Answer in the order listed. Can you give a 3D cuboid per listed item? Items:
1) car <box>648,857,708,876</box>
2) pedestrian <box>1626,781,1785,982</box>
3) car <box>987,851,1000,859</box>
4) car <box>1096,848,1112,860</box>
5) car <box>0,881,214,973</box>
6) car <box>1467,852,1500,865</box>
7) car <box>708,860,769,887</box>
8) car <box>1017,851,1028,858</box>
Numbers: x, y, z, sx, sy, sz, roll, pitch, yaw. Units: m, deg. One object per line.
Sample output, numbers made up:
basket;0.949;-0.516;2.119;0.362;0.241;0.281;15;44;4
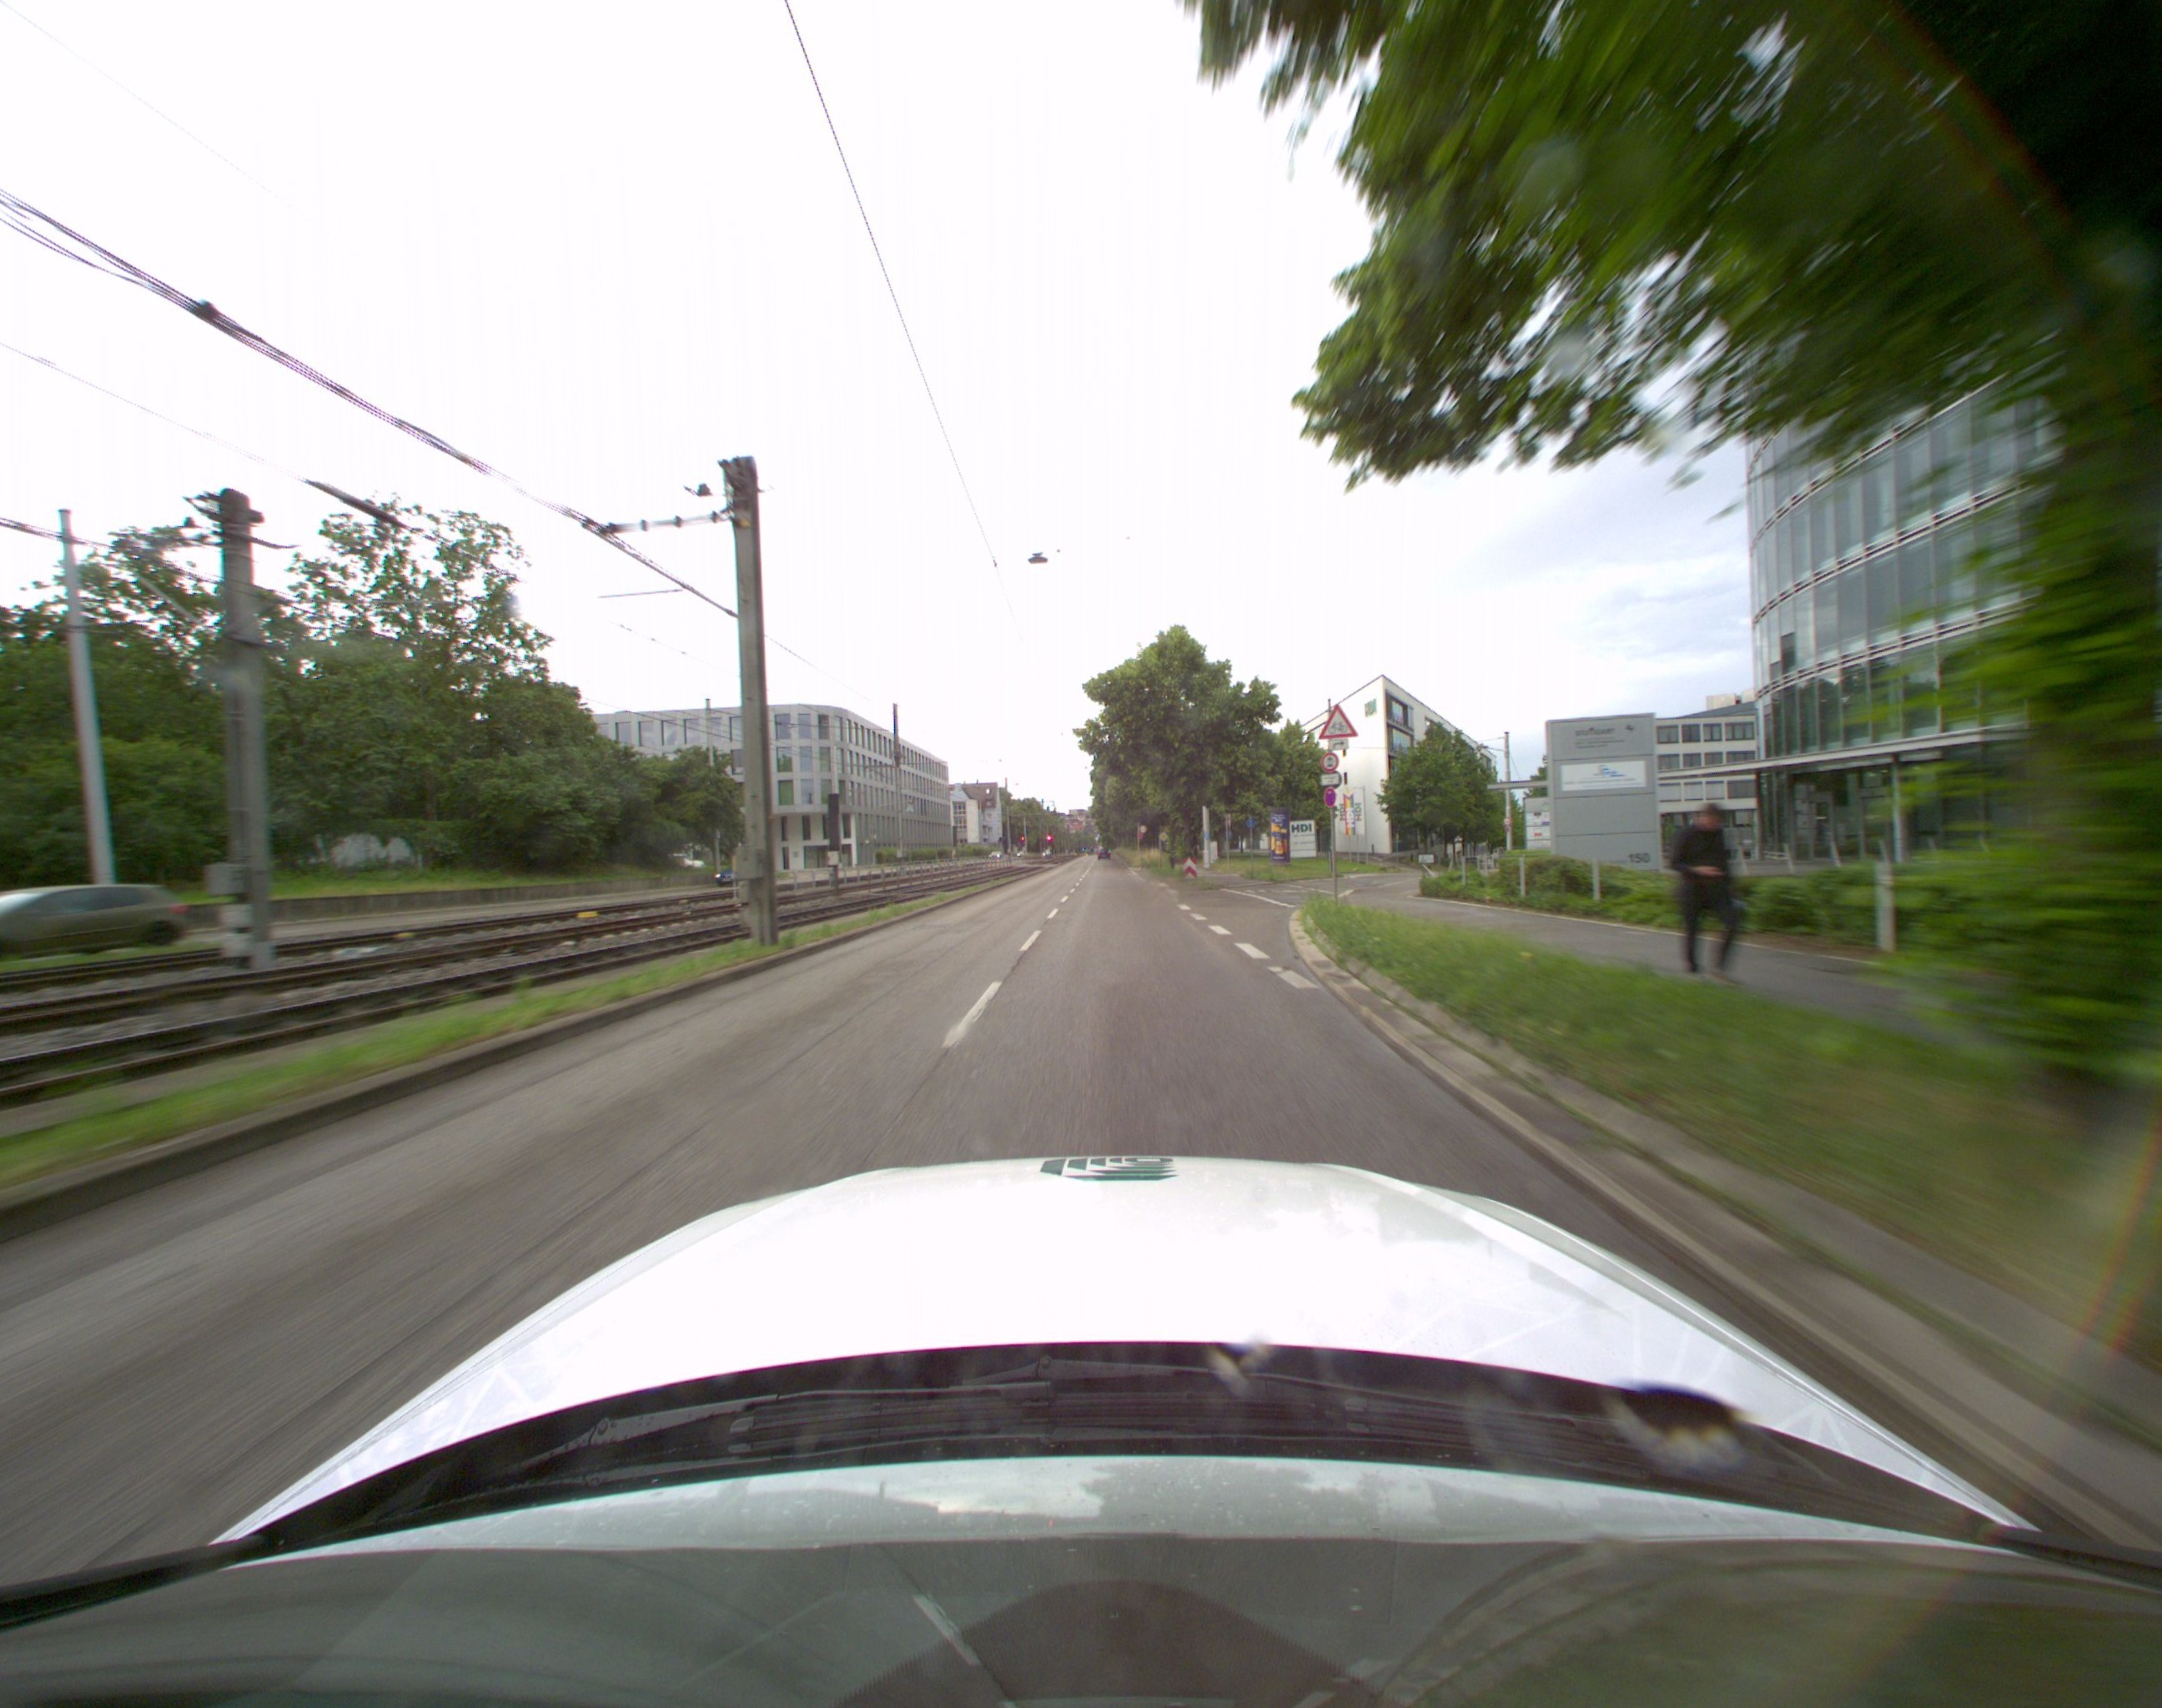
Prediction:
car;-33.233;1.007;67.243;3.907;1.453;1.925;0;0;-1
pedestrian;5.922;0.251;7.780;0.822;1.797;0.868;-1;0;2
car;-15.206;0.204;141.833;1.750;1.244;3.990;-2;0;2
car;3.058;-0.033;106.210;1.974;1.440;4.476;-2;0;2
car;-19.956;1.391;15.583;1.882;1.486;4.314;-2;0;4
car;55.653;0.625;112.605;3.951;1.717;2.011;-2;0;23
car;-20.514;1.156;48.958;1.753;1.397;3.905;-2;0;4
car;-12.673;0.175;175.983;1.791;1.347;4.261;-2;0;2
